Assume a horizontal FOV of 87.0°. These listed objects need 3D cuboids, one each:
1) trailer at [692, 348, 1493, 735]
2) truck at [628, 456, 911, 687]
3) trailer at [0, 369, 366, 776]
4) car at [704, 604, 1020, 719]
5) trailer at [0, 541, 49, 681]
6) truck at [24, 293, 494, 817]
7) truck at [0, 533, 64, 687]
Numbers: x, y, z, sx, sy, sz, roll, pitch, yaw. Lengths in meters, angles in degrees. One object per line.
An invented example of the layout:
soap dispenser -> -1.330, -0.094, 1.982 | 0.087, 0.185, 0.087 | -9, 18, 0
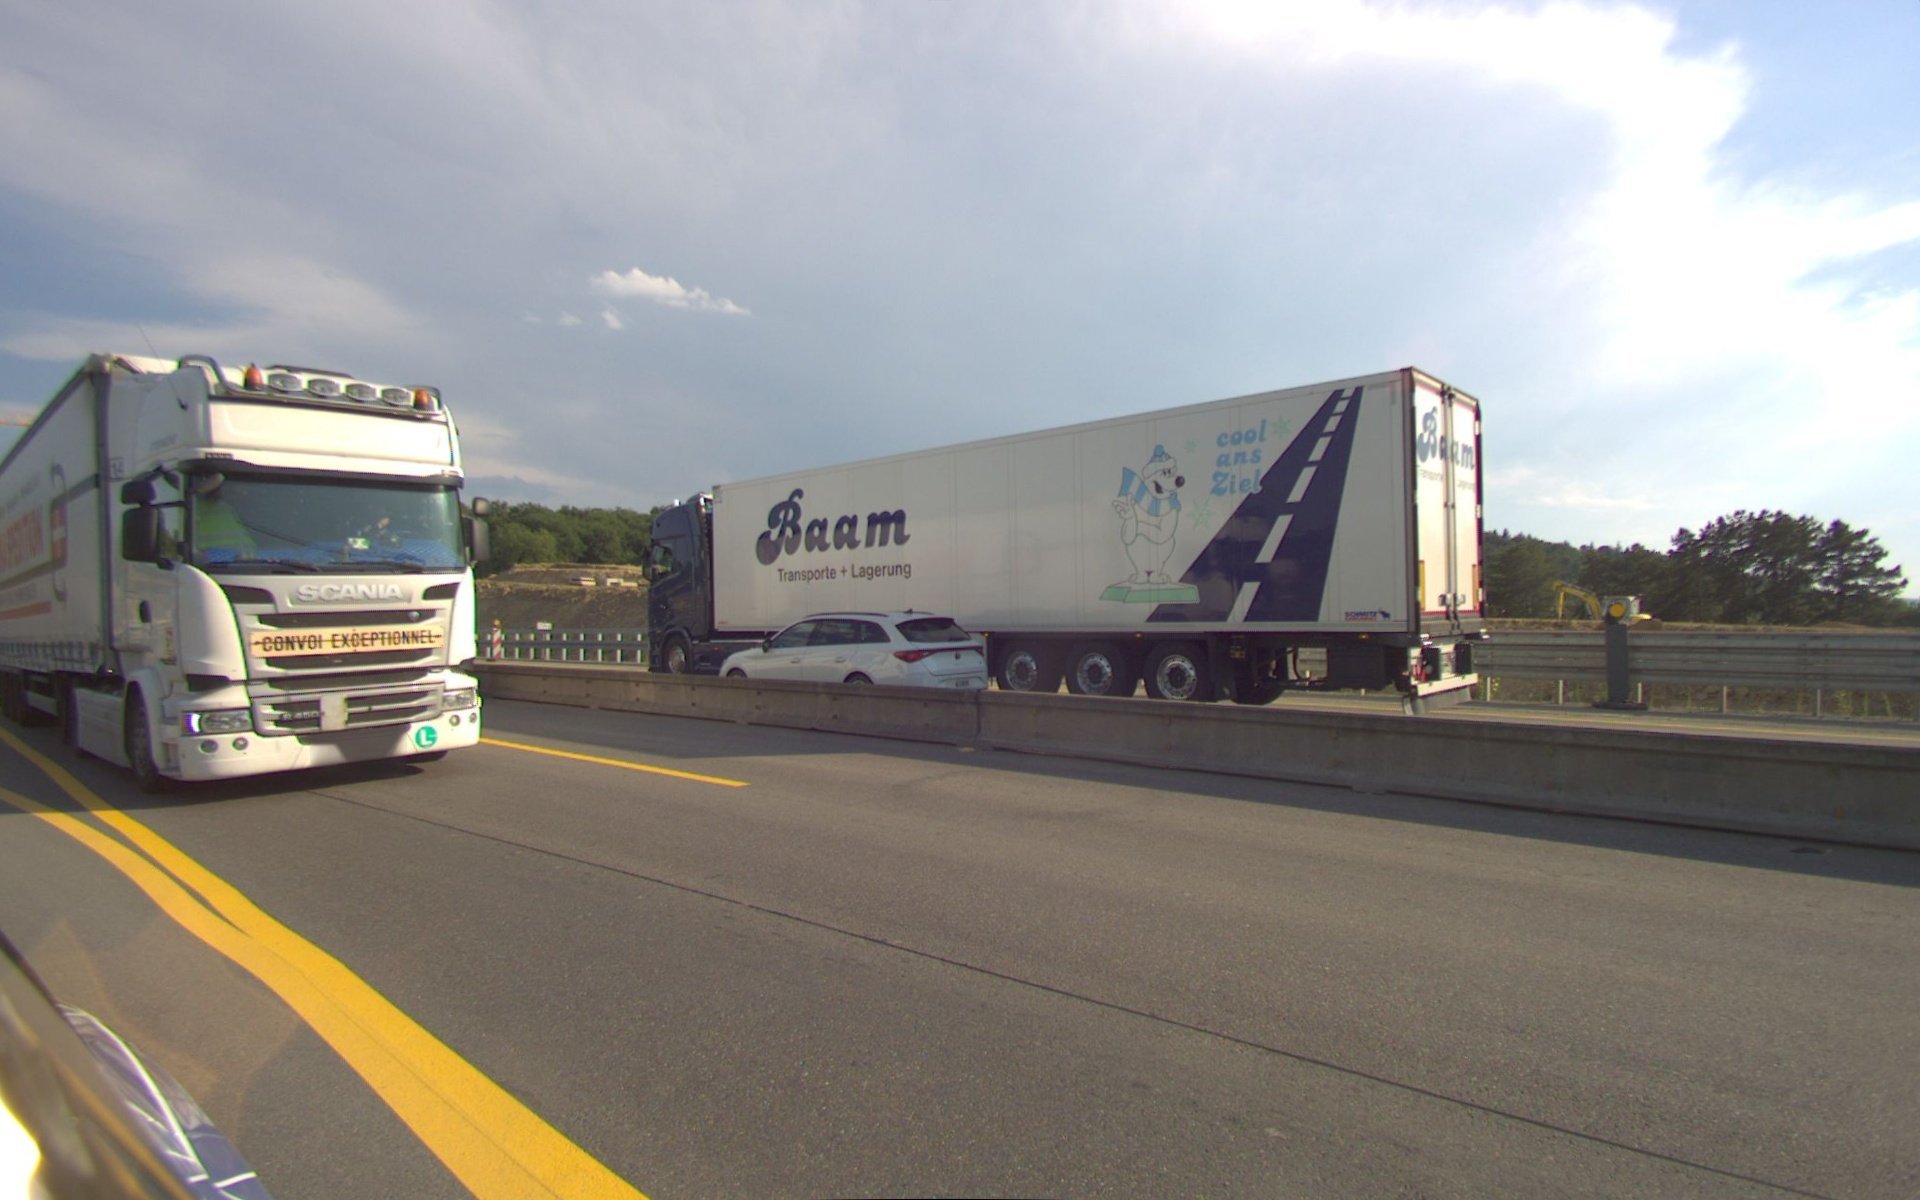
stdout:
trailer -> 0.641, -0.501, 16.493 | 14.081, 4.097, 2.598 | -1, -3, 43
truck -> -4.098, -0.421, 20.986 | 6.130, 4.097, 2.598 | -1, -3, 43
trailer -> -12.727, -0.193, 15.132 | 13.624, 3.908, 2.454 | -1, -1, 41
car -> -1.493, 0.799, 14.303 | 4.450, 1.376, 1.888 | -1, -3, 40
trailer -> -33.245, 0.377, 33.872 | 13.624, 4.092, 2.454 | -1, -1, 41
truck -> -7.439, -0.300, 10.423 | 6.006, 3.908, 2.455 | -1, -1, 40
truck -> -27.735, 0.293, 29.037 | 6.011, 4.091, 2.453 | -1, -1, 43
